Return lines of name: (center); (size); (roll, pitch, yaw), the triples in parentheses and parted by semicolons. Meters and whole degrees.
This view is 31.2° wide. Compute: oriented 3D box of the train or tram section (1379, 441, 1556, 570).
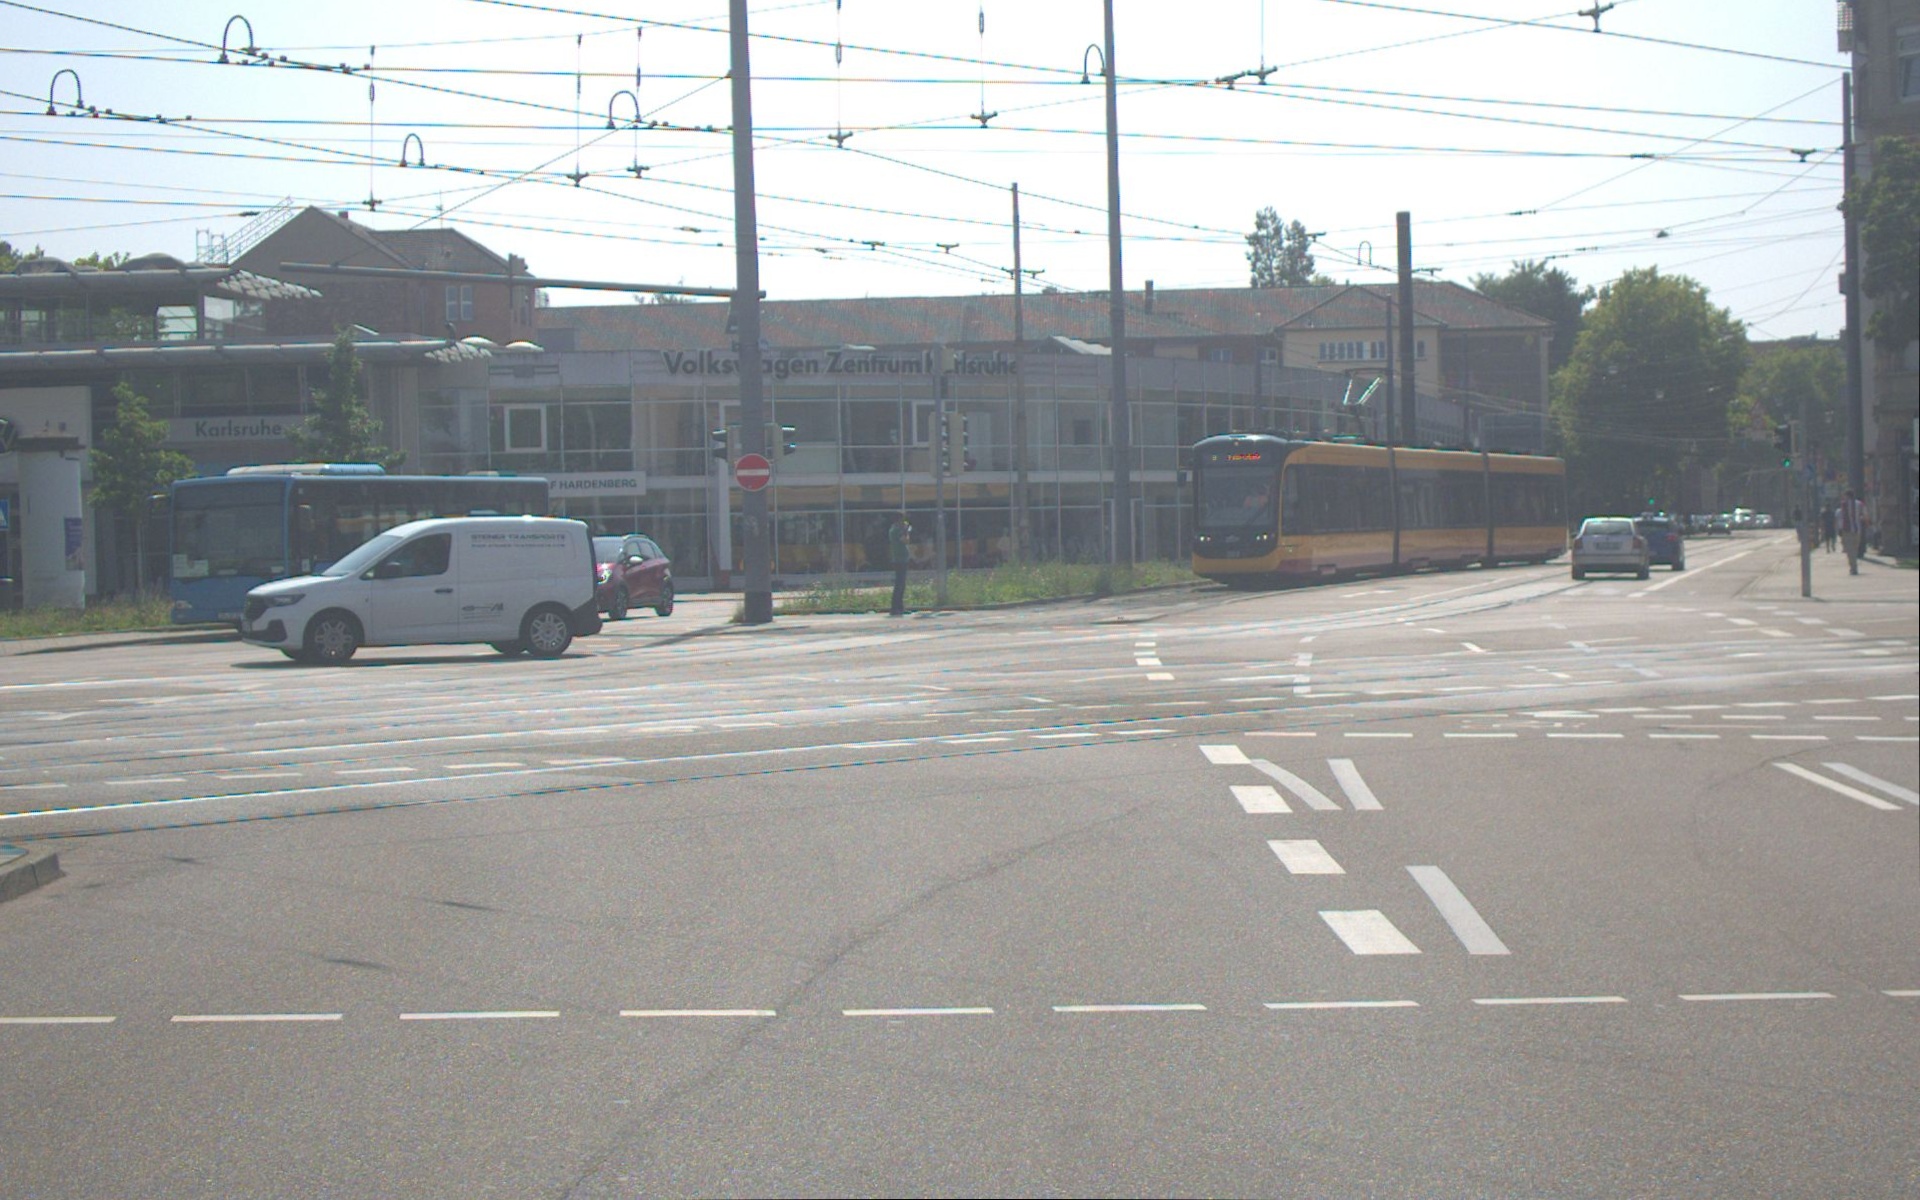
train or tram section: (15.032, -2.758, 100.784); (2.591, 3.504, 12.960); (-1, 1, 20)

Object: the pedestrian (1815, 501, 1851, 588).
pedestrian: (30.621, -1.948, 120.594); (0.983, 3.007, 0.974); (-1, 1, 4)

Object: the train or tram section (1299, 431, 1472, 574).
train or tram section: (11.242, -2.538, 90.045); (2.590, 3.504, 9.650); (-1, 1, 18)

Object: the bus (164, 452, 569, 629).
bus: (-11.156, -1.176, 66.501); (2.564, 3.072, 12.014); (-1, 1, 17)

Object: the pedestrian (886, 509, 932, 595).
pedestrian: (-0.876, -0.818, 58.661); (0.676, 1.438, 0.366); (-1, 1, -17)

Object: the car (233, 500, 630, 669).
car: (-6.739, -0.230, 43.859); (4.609, 2.007, 2.000); (-2, 1, -24)

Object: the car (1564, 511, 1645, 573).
car: (15.296, -1.392, 81.472); (1.771, 1.411, 4.187); (-1, 1, 12)

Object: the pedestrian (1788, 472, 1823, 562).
pedestrian: (28.749, -2.817, 116.851); (0.983, 3.007, 0.974); (-1, 1, 6)

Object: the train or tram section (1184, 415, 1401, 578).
train or tram section: (7.903, -2.386, 80.209); (2.590, 3.504, 10.889); (-1, 1, 19)

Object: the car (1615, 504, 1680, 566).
car: (18.419, -1.750, 92.042); (1.637, 1.612, 3.998); (-1, 1, 12)

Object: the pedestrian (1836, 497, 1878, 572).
pedestrian: (19.232, -1.410, 73.721); (0.699, 1.597, 0.573); (-1, 1, -7)
